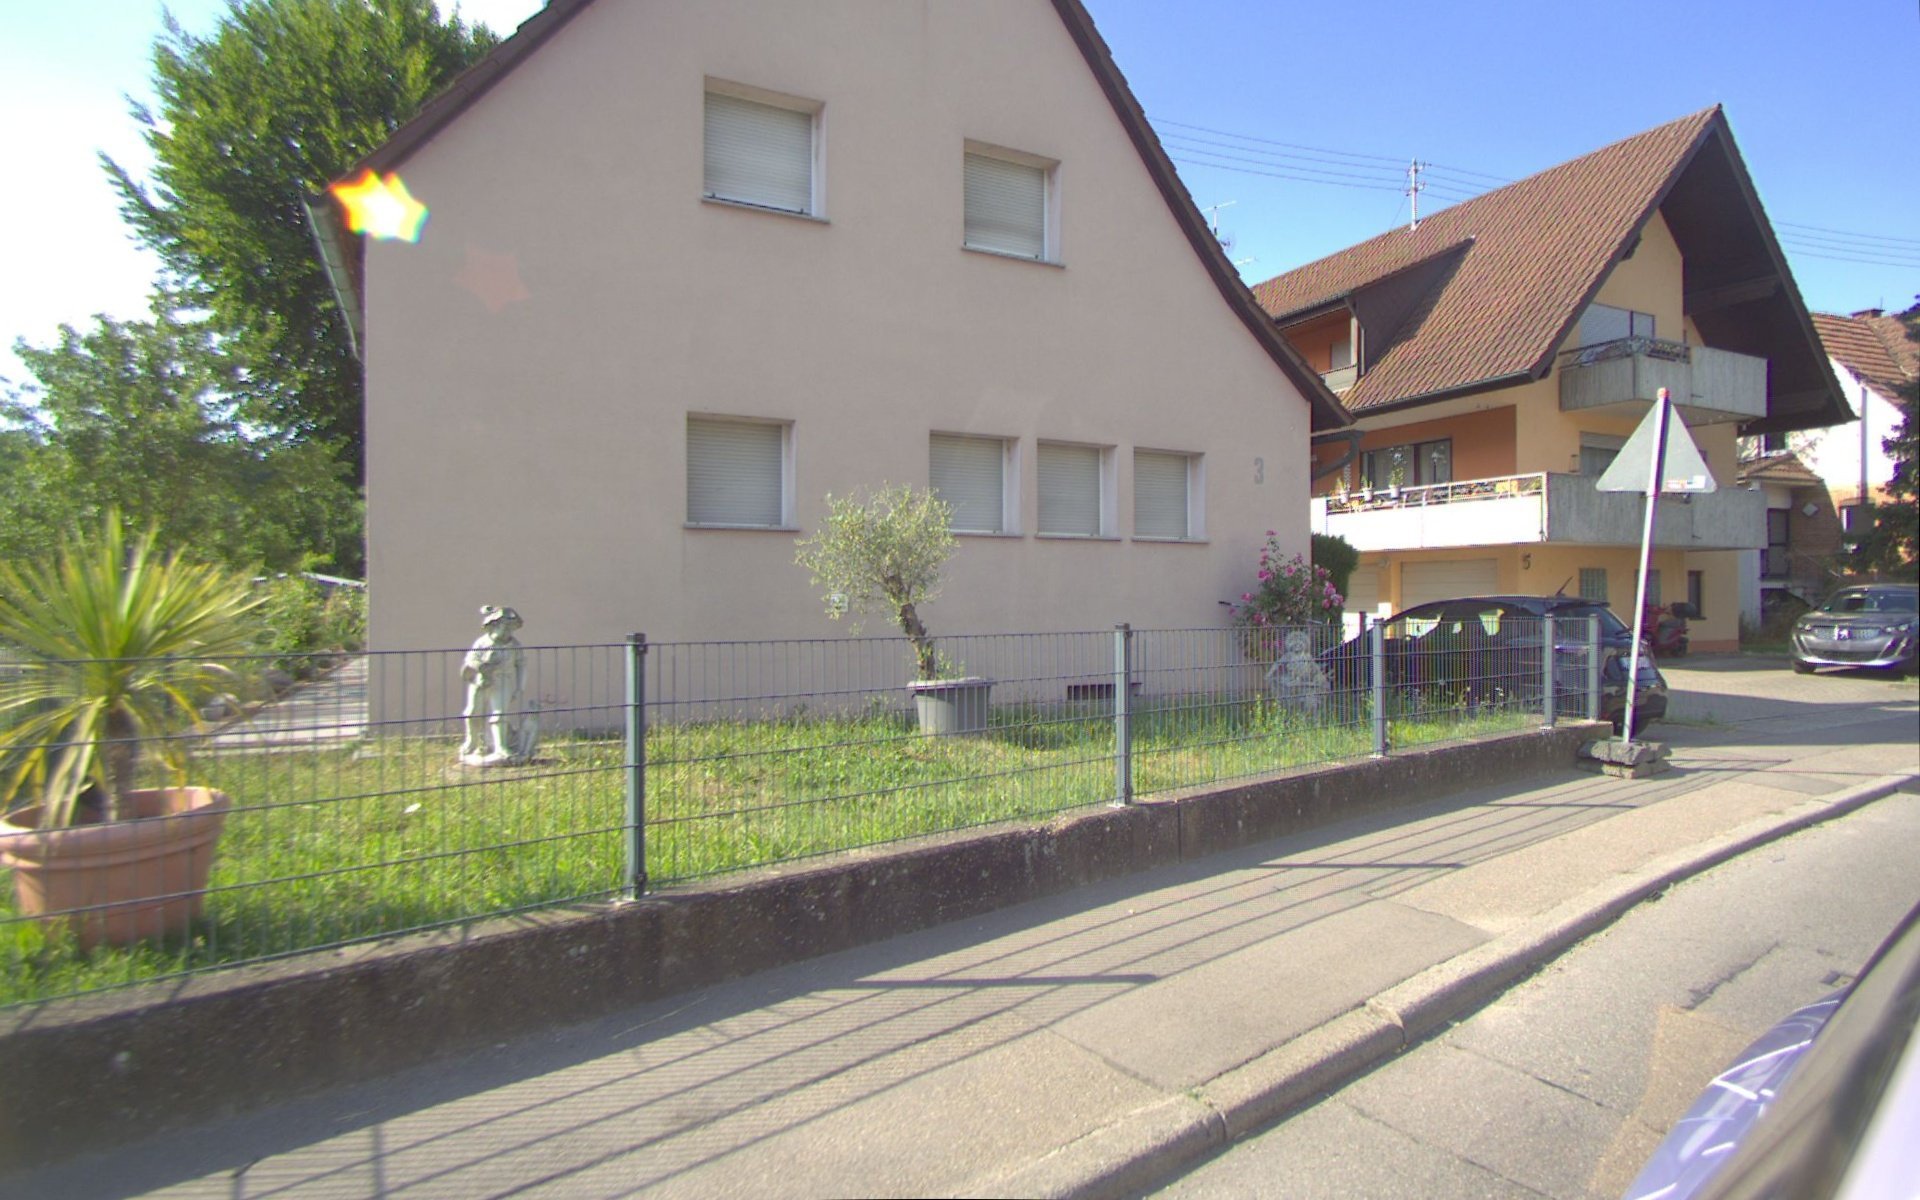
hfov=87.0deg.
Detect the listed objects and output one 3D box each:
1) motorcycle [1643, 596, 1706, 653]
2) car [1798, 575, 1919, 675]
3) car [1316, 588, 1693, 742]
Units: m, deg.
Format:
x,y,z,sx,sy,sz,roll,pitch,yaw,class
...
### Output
x,y,z,sx,sy,sz,roll,pitch,yaw,class
15.084,0.509,21.349,1.612,1.163,0.376,0,-1,-27,motorcycle
16.126,0.362,17.382,3.728,1.535,1.648,-2,1,-34,car
5.944,0.623,11.548,1.406,1.453,3.706,0,0,-24,car
